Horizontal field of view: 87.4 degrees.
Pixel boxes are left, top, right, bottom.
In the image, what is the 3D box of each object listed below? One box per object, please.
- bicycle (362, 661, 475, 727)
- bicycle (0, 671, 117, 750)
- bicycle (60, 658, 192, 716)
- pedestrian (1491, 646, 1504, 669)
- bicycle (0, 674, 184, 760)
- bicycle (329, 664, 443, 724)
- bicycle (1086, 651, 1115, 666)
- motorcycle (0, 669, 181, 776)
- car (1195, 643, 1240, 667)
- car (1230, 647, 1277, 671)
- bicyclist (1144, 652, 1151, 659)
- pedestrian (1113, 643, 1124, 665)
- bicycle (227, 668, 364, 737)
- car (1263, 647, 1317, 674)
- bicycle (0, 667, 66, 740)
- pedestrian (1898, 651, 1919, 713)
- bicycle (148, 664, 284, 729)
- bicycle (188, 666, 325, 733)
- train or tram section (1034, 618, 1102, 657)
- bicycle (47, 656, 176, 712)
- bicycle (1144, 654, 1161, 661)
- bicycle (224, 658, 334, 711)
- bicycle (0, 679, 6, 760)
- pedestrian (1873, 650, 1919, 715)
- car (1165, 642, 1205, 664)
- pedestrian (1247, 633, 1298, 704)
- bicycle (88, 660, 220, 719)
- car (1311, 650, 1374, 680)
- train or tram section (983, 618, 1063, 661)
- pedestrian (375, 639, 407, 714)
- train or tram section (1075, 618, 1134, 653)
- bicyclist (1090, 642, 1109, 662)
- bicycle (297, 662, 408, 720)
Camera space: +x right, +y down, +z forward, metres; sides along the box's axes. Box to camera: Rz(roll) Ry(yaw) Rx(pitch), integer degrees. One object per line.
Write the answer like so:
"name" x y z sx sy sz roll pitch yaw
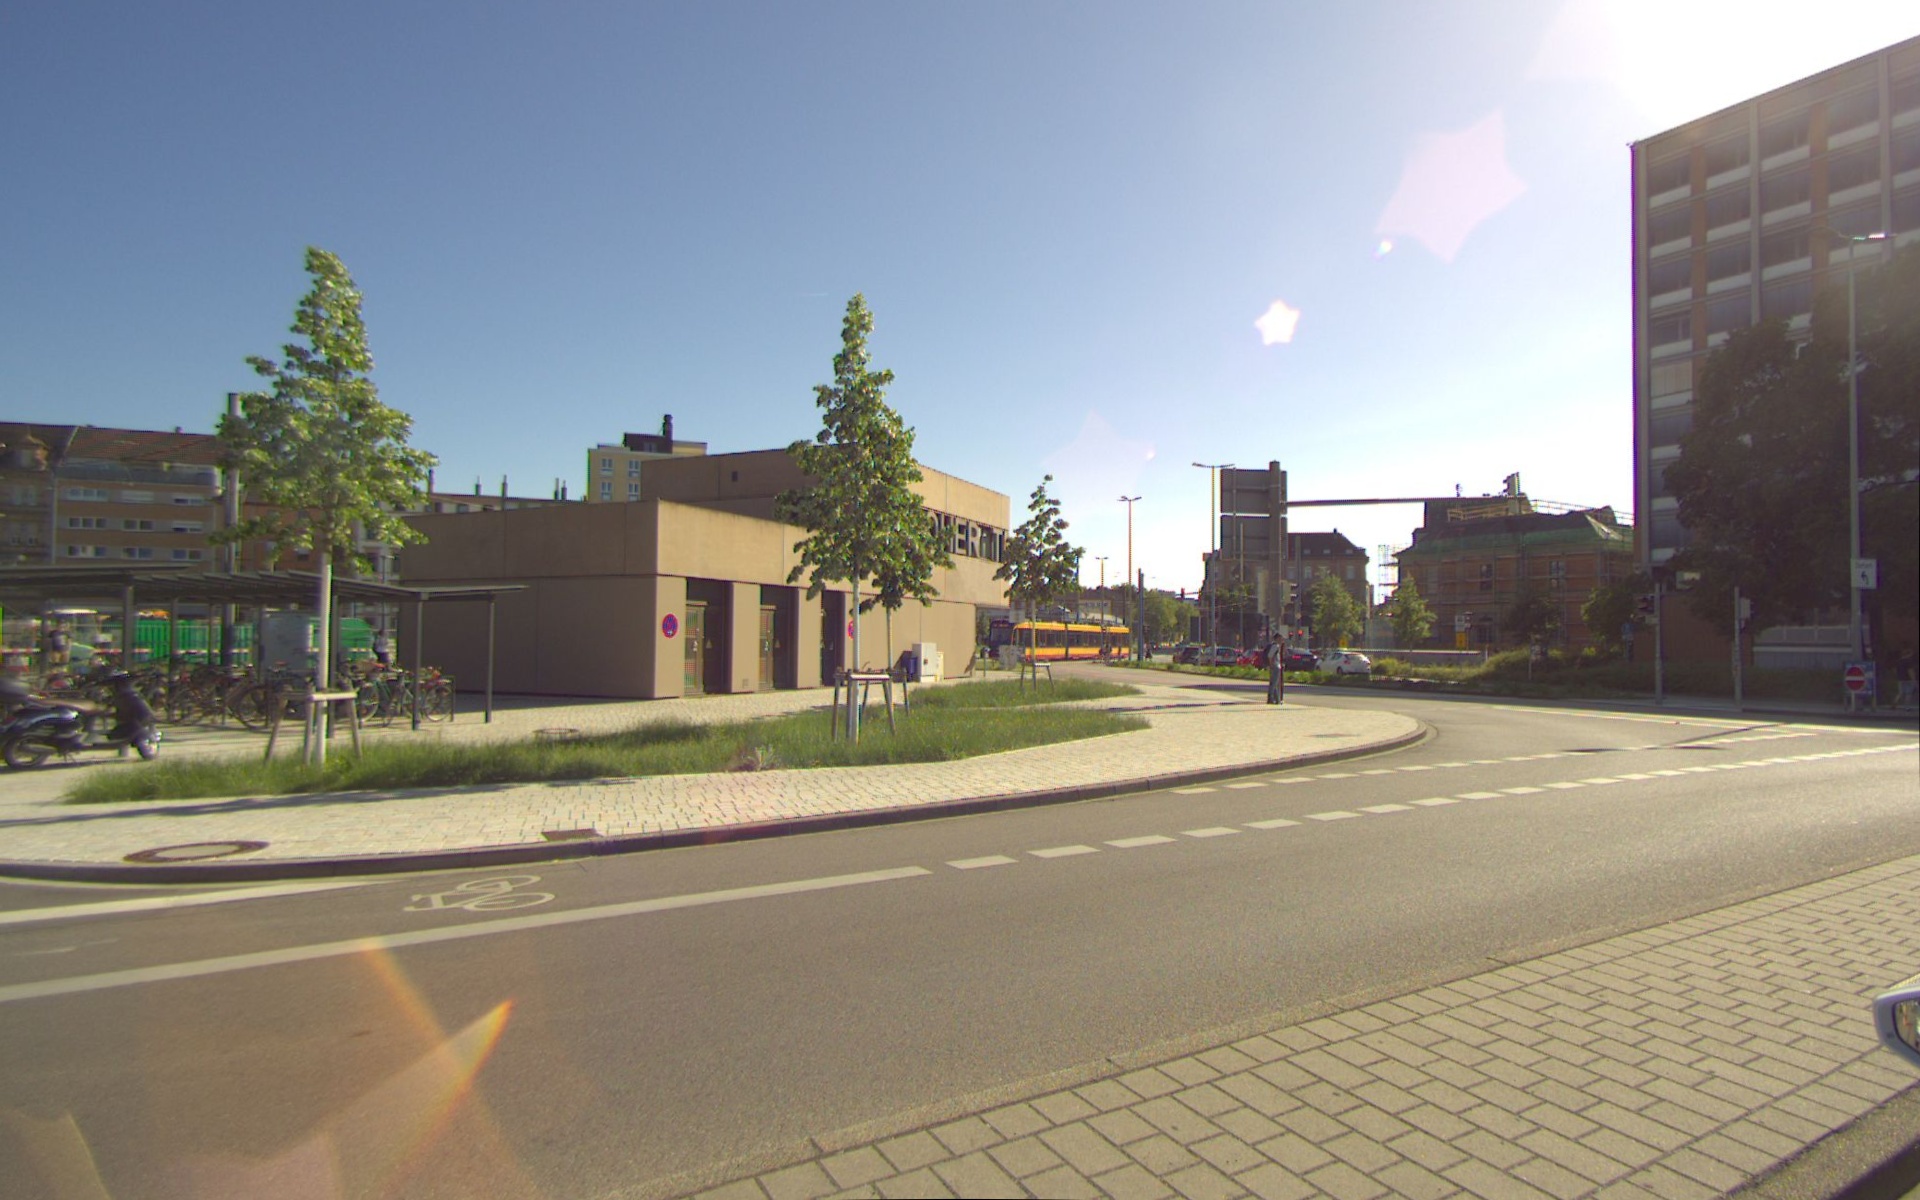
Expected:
"bicycle" -9.930 1.695 18.489 0.449 1.112 1.902 0 -2 26
"bicycle" -13.032 1.535 14.014 0.449 1.022 1.902 0 -2 26
"bicycle" -15.920 1.642 19.239 0.449 1.022 1.902 0 -2 26
"pedestrian" 41.665 4.487 77.847 0.754 1.753 0.675 2 -2 -39
"bicycle" -11.817 1.554 13.723 0.449 1.022 1.902 0 -2 26
"bicycle" -10.710 1.732 18.819 0.449 1.022 1.902 0 -2 26
"bicycle" 11.918 4.948 85.214 2.370 1.076 0.811 2 0 14
"motorcycle" -10.922 1.474 12.469 0.508 1.166 1.947 0 -2 25
"car" 17.459 3.690 68.270 1.760 1.528 3.880 1 -2 -6
"car" 20.206 4.028 69.250 1.760 1.528 3.880 1 -2 -6
"bicyclist" 15.918 4.704 85.152 0.560 0.556 0.431 0 -2 11
"pedestrian" 12.975 4.401 82.056 0.761 1.786 0.706 0 -2 18
"bicycle" -10.913 1.661 16.569 0.449 1.022 1.902 0 -2 26
"car" 20.577 3.764 62.789 1.760 1.528 3.880 1 -2 -6
"bicycle" -14.161 1.507 14.445 0.449 1.022 1.902 0 -2 26
"pedestrian" 27.922 2.379 29.185 0.748 1.753 0.680 1 -2 -16
"bicycle" -12.901 1.647 17.489 0.449 1.022 1.902 0 -2 26
"bicycle" -11.892 1.650 17.058 0.449 1.022 1.902 0 -2 26
"train or tram section" 10.112 3.384 92.930 2.651 3.275 10.589 2 0 27
"bicycle" -16.703 1.637 19.838 0.449 1.022 1.902 0 -2 26
"bicycle" 16.313 4.905 85.066 1.381 0.556 0.435 0 -2 11
"bicycle" -14.075 1.726 20.828 0.449 1.022 1.902 0 -2 26
"bicycle" -12.748 1.483 12.003 0.449 1.022 1.902 0 -2 26
"pedestrian" 28.172 2.463 30.119 0.895 1.887 0.813 1 -2 -16
"car" 16.778 3.925 74.997 1.760 1.528 3.880 1 -2 -6
"pedestrian" 7.898 1.719 25.368 1.044 1.753 0.652 1 -2 -16
"bicycle" -15.084 1.654 18.864 0.449 1.022 1.902 0 -2 26
"car" 21.250 3.590 55.933 1.760 1.528 3.880 1 -2 -6
"train or tram section" 5.371 3.194 83.431 2.651 3.275 10.589 2 0 27
"pedestrian" -15.739 2.114 27.802 0.710 2.040 0.682 2 -3 -30
"train or tram section" 14.859 3.574 102.404 2.651 3.275 10.589 2 0 27
"bicyclist" 11.842 4.403 85.254 1.544 1.655 0.811 2 0 14
"bicycle" -11.799 1.742 19.576 0.449 1.022 1.902 0 -2 26
